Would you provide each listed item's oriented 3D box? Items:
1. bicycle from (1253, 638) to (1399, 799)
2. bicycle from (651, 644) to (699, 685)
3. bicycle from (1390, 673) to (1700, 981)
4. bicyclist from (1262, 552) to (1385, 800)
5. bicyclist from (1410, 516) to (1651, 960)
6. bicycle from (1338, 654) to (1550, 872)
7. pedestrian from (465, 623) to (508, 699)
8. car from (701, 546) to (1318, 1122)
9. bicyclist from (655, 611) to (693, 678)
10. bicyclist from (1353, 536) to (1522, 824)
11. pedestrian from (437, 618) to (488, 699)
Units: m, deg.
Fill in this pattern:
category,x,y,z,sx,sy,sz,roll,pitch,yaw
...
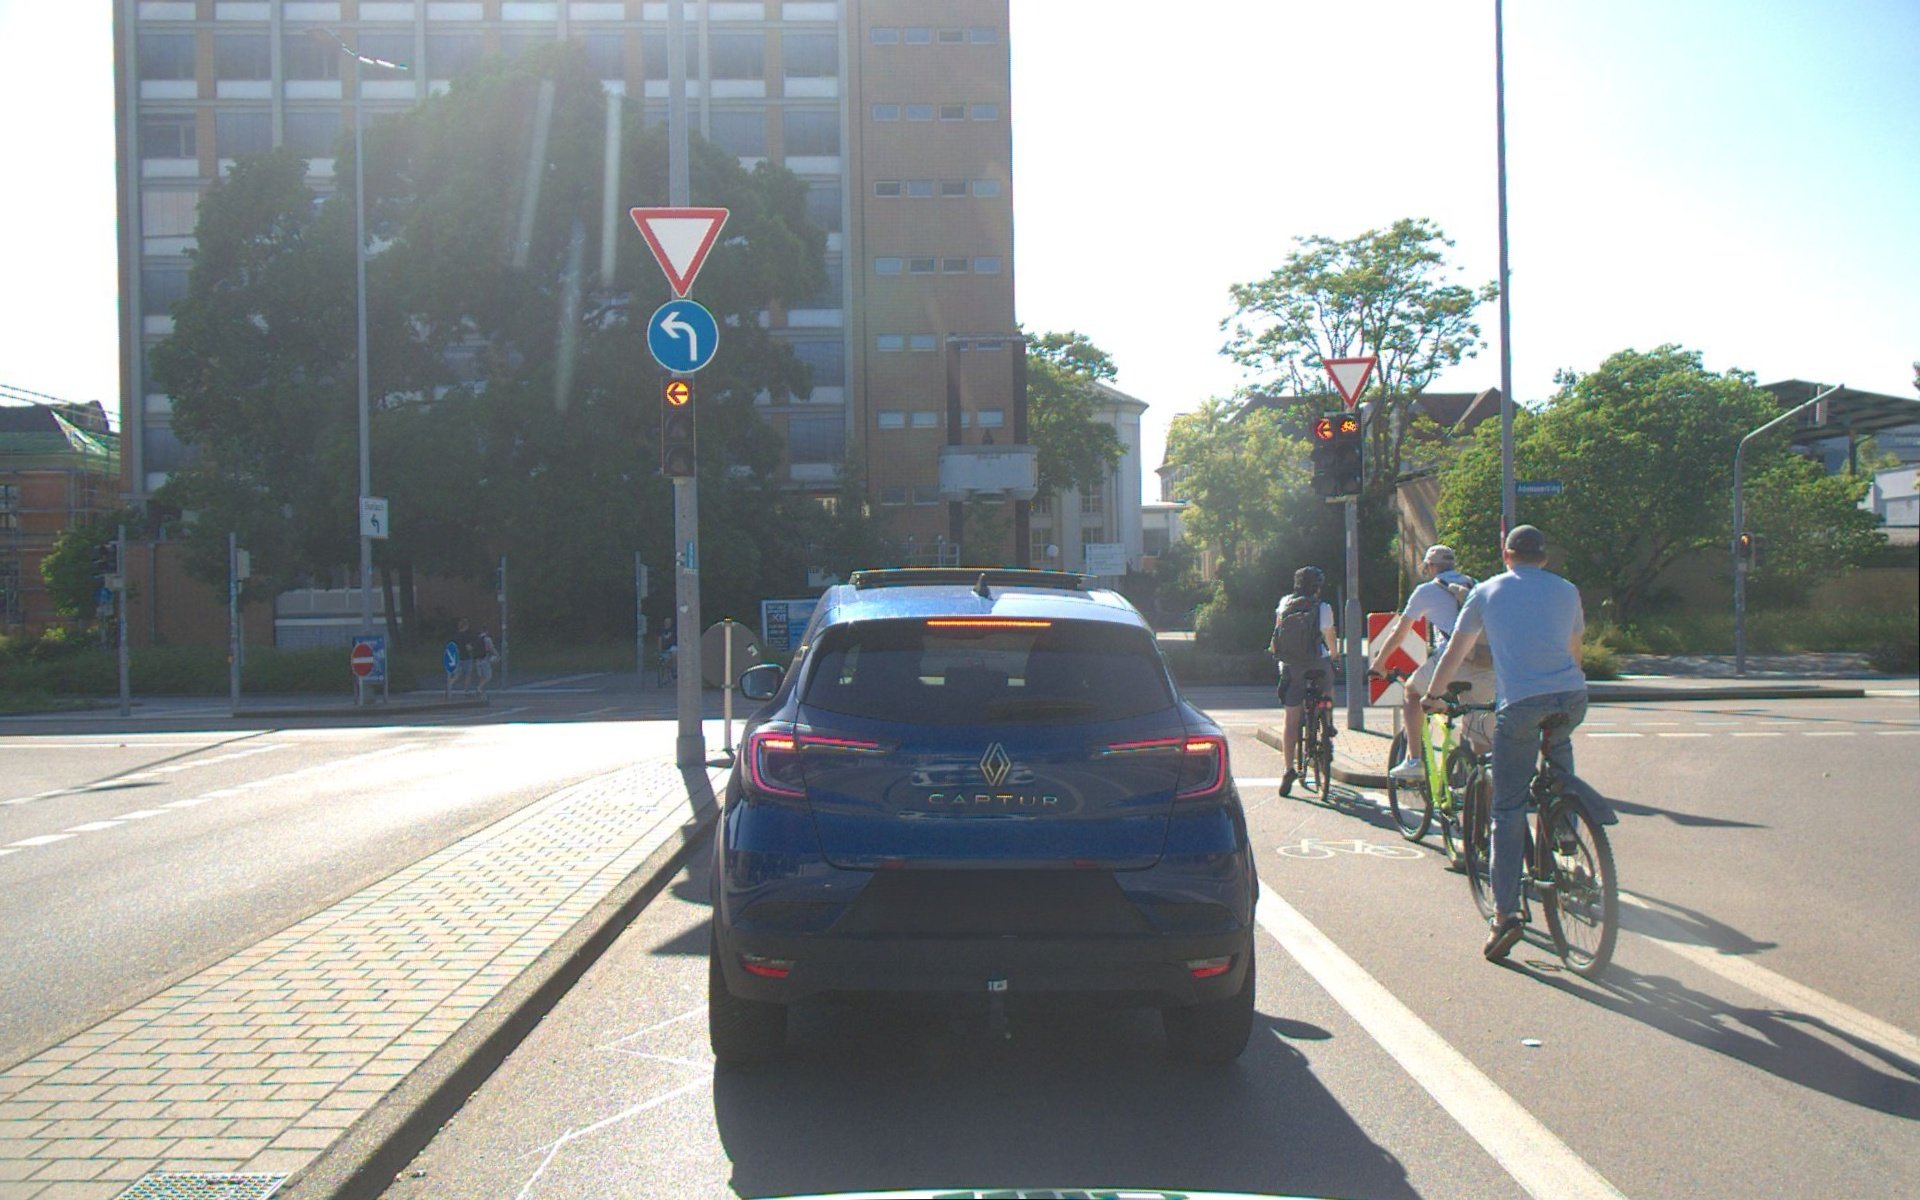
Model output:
category,x,y,z,sx,sy,sz,roll,pitch,yaw
bicycle,2.786,0.871,12.780,0.675,1.108,1.922,0,0,-1
bicycle,-7.522,1.695,43.766,0.739,1.002,2.095,-1,0,5
bicycle,2.507,0.918,7.345,0.675,1.108,1.922,0,0,-1
bicyclist,2.780,0.558,12.757,0.685,1.822,1.142,0,0,-1
bicyclist,2.501,0.567,7.370,0.669,1.822,1.142,0,0,-1
bicycle,2.821,0.908,9.848,0.675,1.108,1.922,0,0,-1
pedestrian,-11.134,1.430,38.902,0.666,1.761,0.761,-1,0,13
car,0.061,0.661,6.640,1.753,1.613,3.912,0,0,-3
bicyclist,-7.541,1.168,43.663,0.739,1.746,0.999,-1,0,5
bicyclist,2.826,0.450,9.888,0.664,1.622,1.142,0,0,-1
pedestrian,-11.859,1.384,39.450,0.796,1.895,0.910,-1,0,13
